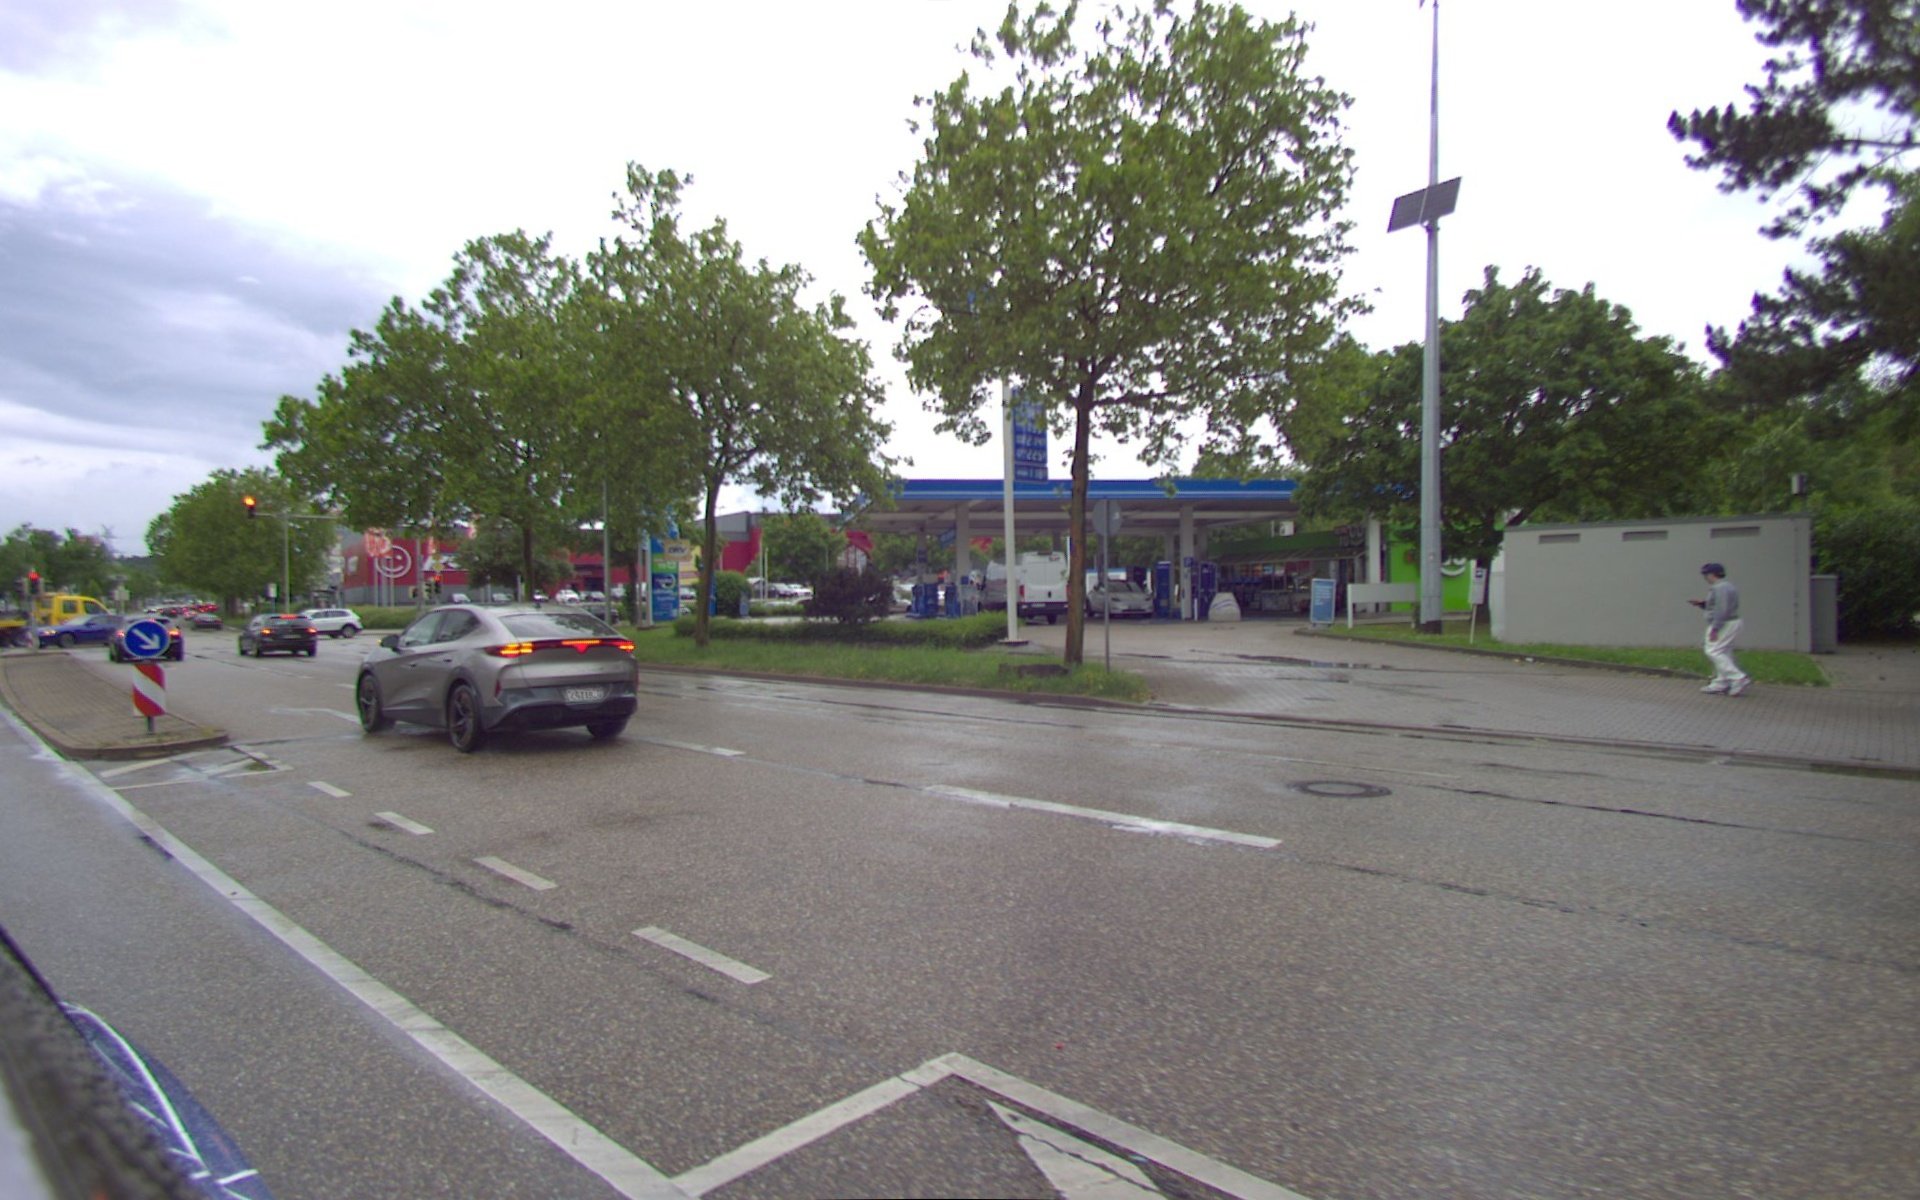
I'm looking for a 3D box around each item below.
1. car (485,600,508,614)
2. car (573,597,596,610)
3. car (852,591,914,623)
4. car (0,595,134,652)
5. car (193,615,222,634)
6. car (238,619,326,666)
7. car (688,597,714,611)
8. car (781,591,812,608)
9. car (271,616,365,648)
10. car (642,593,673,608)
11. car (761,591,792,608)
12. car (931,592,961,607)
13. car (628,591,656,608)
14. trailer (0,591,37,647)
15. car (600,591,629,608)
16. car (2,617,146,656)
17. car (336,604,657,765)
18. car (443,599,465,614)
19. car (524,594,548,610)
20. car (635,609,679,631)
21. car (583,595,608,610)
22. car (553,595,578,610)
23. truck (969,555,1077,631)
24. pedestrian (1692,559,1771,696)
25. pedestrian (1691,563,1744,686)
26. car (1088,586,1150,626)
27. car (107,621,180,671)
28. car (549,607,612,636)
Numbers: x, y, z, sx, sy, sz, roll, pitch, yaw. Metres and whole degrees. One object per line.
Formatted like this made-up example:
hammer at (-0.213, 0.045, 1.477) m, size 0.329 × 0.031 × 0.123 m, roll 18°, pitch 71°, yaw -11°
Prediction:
car at (-56.214, 0.836, 122.699) m, size 1.670 × 1.658 × 3.972 m, roll 0°, pitch -1°, yaw -36°
car at (-47.776, 0.429, 128.646) m, size 1.670 × 1.658 × 3.972 m, roll 0°, pitch -1°, yaw -36°
car at (-4.588, 0.422, 60.514) m, size 1.810 × 1.811 × 3.656 m, roll -1°, pitch -1°, yaw 35°
car at (-43.103, 1.092, 48.446) m, size 2.234 × 2.492 × 4.973 m, roll -3°, pitch 0°, yaw 25°
car at (-58.079, 1.904, 78.076) m, size 1.759 × 1.415 × 4.009 m, roll 0°, pitch -1°, yaw -37°
car at (-23.881, 1.439, 35.570) m, size 1.969 × 1.520 × 4.737 m, roll 1°, pitch -1°, yaw -41°
car at (-30.934, 0.473, 120.770) m, size 1.645 × 1.658 × 3.972 m, roll 0°, pitch -1°, yaw -36°
car at (-17.130, -0.062, 106.194) m, size 1.645 × 1.658 × 3.835 m, roll 0°, pitch -1°, yaw -36°
car at (-34.861, 1.711, 55.017) m, size 1.898 × 1.565 × 3.951 m, roll 1°, pitch 1°, yaw 36°
car at (-29.387, 0.022, 98.301) m, size 1.645 × 1.391 × 3.918 m, roll 0°, pitch -1°, yaw -36°
car at (-18.858, -0.074, 104.053) m, size 1.645 × 1.658 × 3.835 m, roll 0°, pitch -1°, yaw -36°
car at (-1.651, -0.034, 117.385) m, size 1.645 × 1.658 × 3.835 m, roll 0°, pitch -1°, yaw -36°
car at (-31.925, -0.032, 101.532) m, size 1.605 × 1.658 × 3.835 m, roll 0°, pitch -1°, yaw -36°
trailer at (-45.715, 1.007, 43.989) m, size 2.304 × 2.492 × 7.884 m, roll -3°, pitch 0°, yaw 32°
car at (-33.886, -0.044, 99.297) m, size 1.645 × 1.658 × 3.835 m, roll 0°, pitch -1°, yaw -36°
car at (-39.516, 1.591, 45.270) m, size 1.793 × 1.645 × 4.510 m, roll -1°, pitch -1°, yaw 27°
car at (-5.667, 0.849, 12.085) m, size 4.596 × 1.574 × 1.792 m, roll -1°, pitch -1°, yaw 41°
car at (-57.827, 0.786, 115.648) m, size 1.670 × 1.658 × 3.972 m, roll 0°, pitch -1°, yaw -36°
car at (-52.348, 0.278, 124.889) m, size 1.763 × 1.940 × 3.757 m, roll 0°, pitch -1°, yaw -38°
car at (-22.837, 1.518, 76.193) m, size 1.660 × 1.565 × 3.663 m, roll 0°, pitch -1°, yaw -44°
car at (-41.129, 0.262, 114.158) m, size 1.645 × 1.658 × 3.972 m, roll 0°, pitch -1°, yaw -36°
car at (-44.125, 0.266, 113.127) m, size 1.645 × 1.658 × 3.972 m, roll 0°, pitch -1°, yaw -36°
truck at (2.302, -0.146, 40.160) m, size 2.119 × 2.696 × 7.892 m, roll 0°, pitch -2°, yaw -13°
pedestrian at (10.363, 0.355, 13.592) m, size 0.655 × 1.780 × 0.585 m, roll -2°, pitch 0°, yaw -28°
pedestrian at (10.716, 0.350, 14.314) m, size 0.540 × 1.695 × 0.506 m, roll -2°, pitch -2°, yaw 41°
car at (6.671, 0.208, 42.711) m, size 1.663 × 1.594 × 3.568 m, roll -1°, pitch 1°, yaw -6°
car at (-26.313, 1.440, 32.567) m, size 1.623 × 1.520 × 3.898 m, roll 0°, pitch -2°, yaw -42°
car at (-24.408, 1.345, 65.097) m, size 3.484 × 1.709 × 1.604 m, roll -1°, pitch 0°, yaw -40°
